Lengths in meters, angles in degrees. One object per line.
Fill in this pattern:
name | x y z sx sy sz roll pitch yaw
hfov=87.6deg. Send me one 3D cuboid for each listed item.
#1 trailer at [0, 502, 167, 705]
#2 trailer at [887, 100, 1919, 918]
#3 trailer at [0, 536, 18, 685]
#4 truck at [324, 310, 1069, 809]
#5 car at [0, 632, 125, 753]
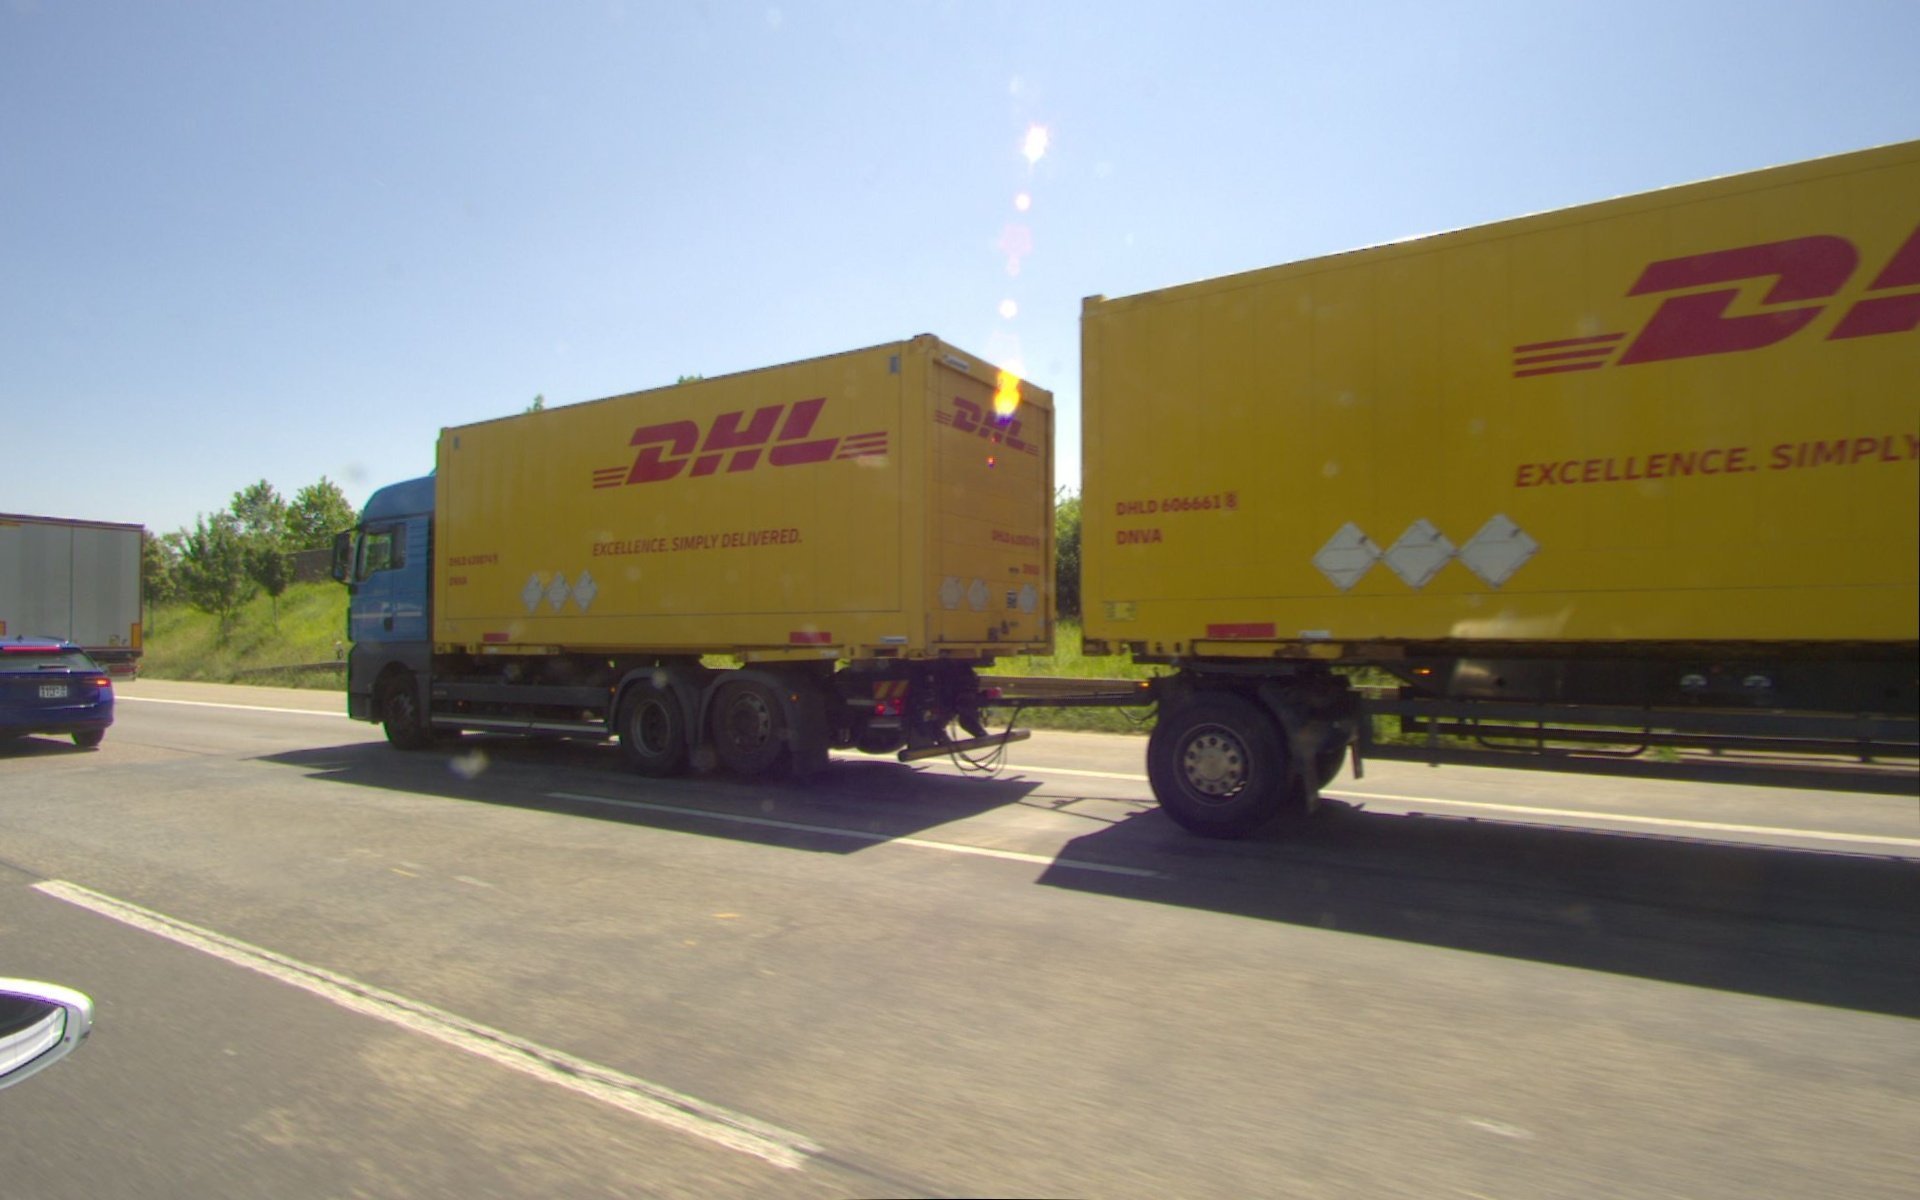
trailer | -24.524 0.212 25.033 13.554 4.101 2.958 -1 -2 32
trailer | 4.019 -0.390 7.268 9.242 4.169 2.761 -1 -2 32
trailer | -29.663 0.289 28.267 6.318 4.096 2.920 0 -1 32
truck | -3.709 -0.210 12.139 9.810 4.161 2.761 -1 -2 32
car | -13.181 1.182 13.481 4.365 1.459 1.704 -2 -3 32
